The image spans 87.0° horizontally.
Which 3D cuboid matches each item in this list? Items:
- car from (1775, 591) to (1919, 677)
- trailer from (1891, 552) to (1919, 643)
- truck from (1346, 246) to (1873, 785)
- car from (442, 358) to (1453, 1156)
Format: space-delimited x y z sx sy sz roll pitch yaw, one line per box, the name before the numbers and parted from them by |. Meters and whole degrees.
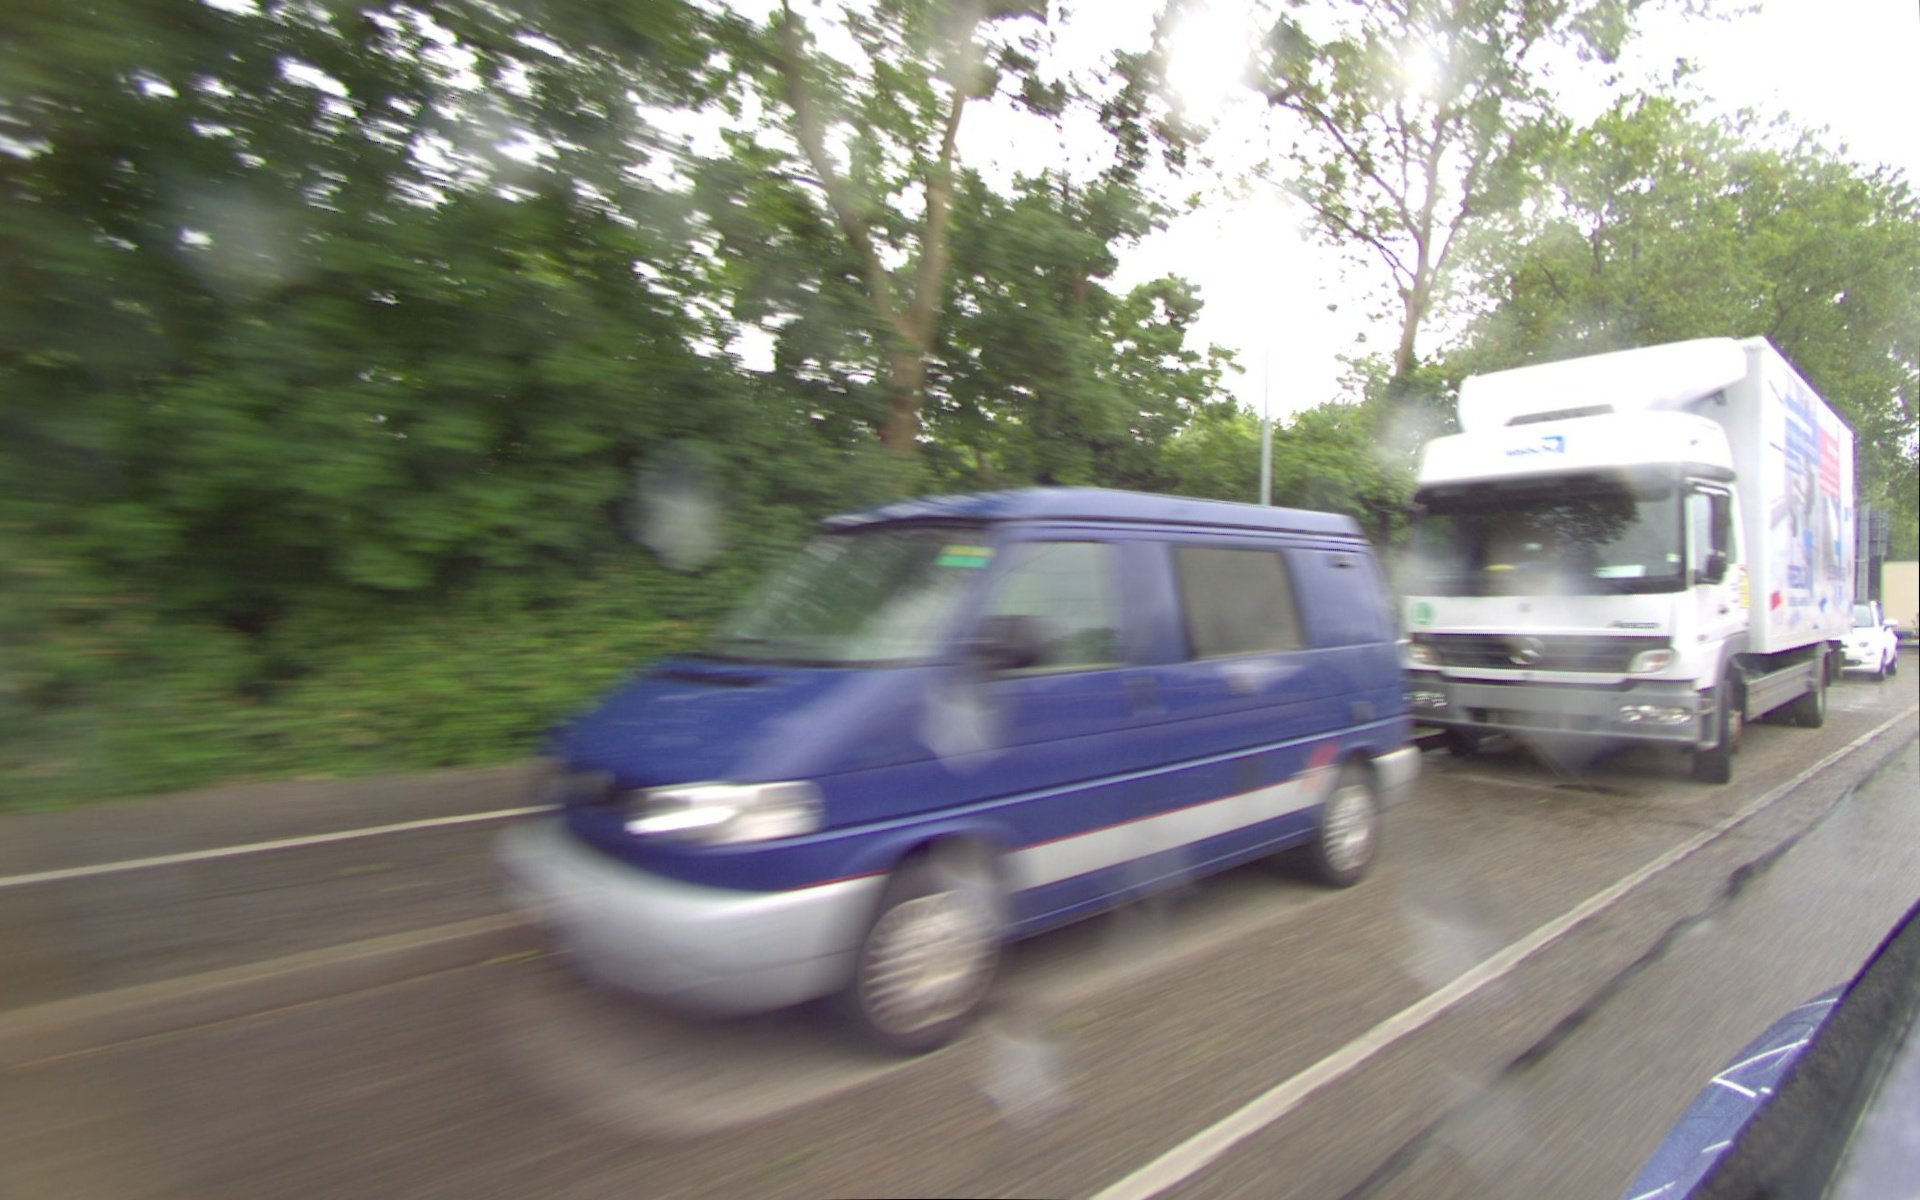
car | 17.849 0.631 20.293 3.931 1.548 1.715 0 -2 -42
trailer | 31.937 -0.107 32.501 5.574 2.792 2.171 -1 1 -39
truck | 7.923 -0.697 11.412 9.689 3.750 2.778 -1 2 -44
car | 0.389 0.390 4.925 4.894 2.039 1.879 0 0 -41
